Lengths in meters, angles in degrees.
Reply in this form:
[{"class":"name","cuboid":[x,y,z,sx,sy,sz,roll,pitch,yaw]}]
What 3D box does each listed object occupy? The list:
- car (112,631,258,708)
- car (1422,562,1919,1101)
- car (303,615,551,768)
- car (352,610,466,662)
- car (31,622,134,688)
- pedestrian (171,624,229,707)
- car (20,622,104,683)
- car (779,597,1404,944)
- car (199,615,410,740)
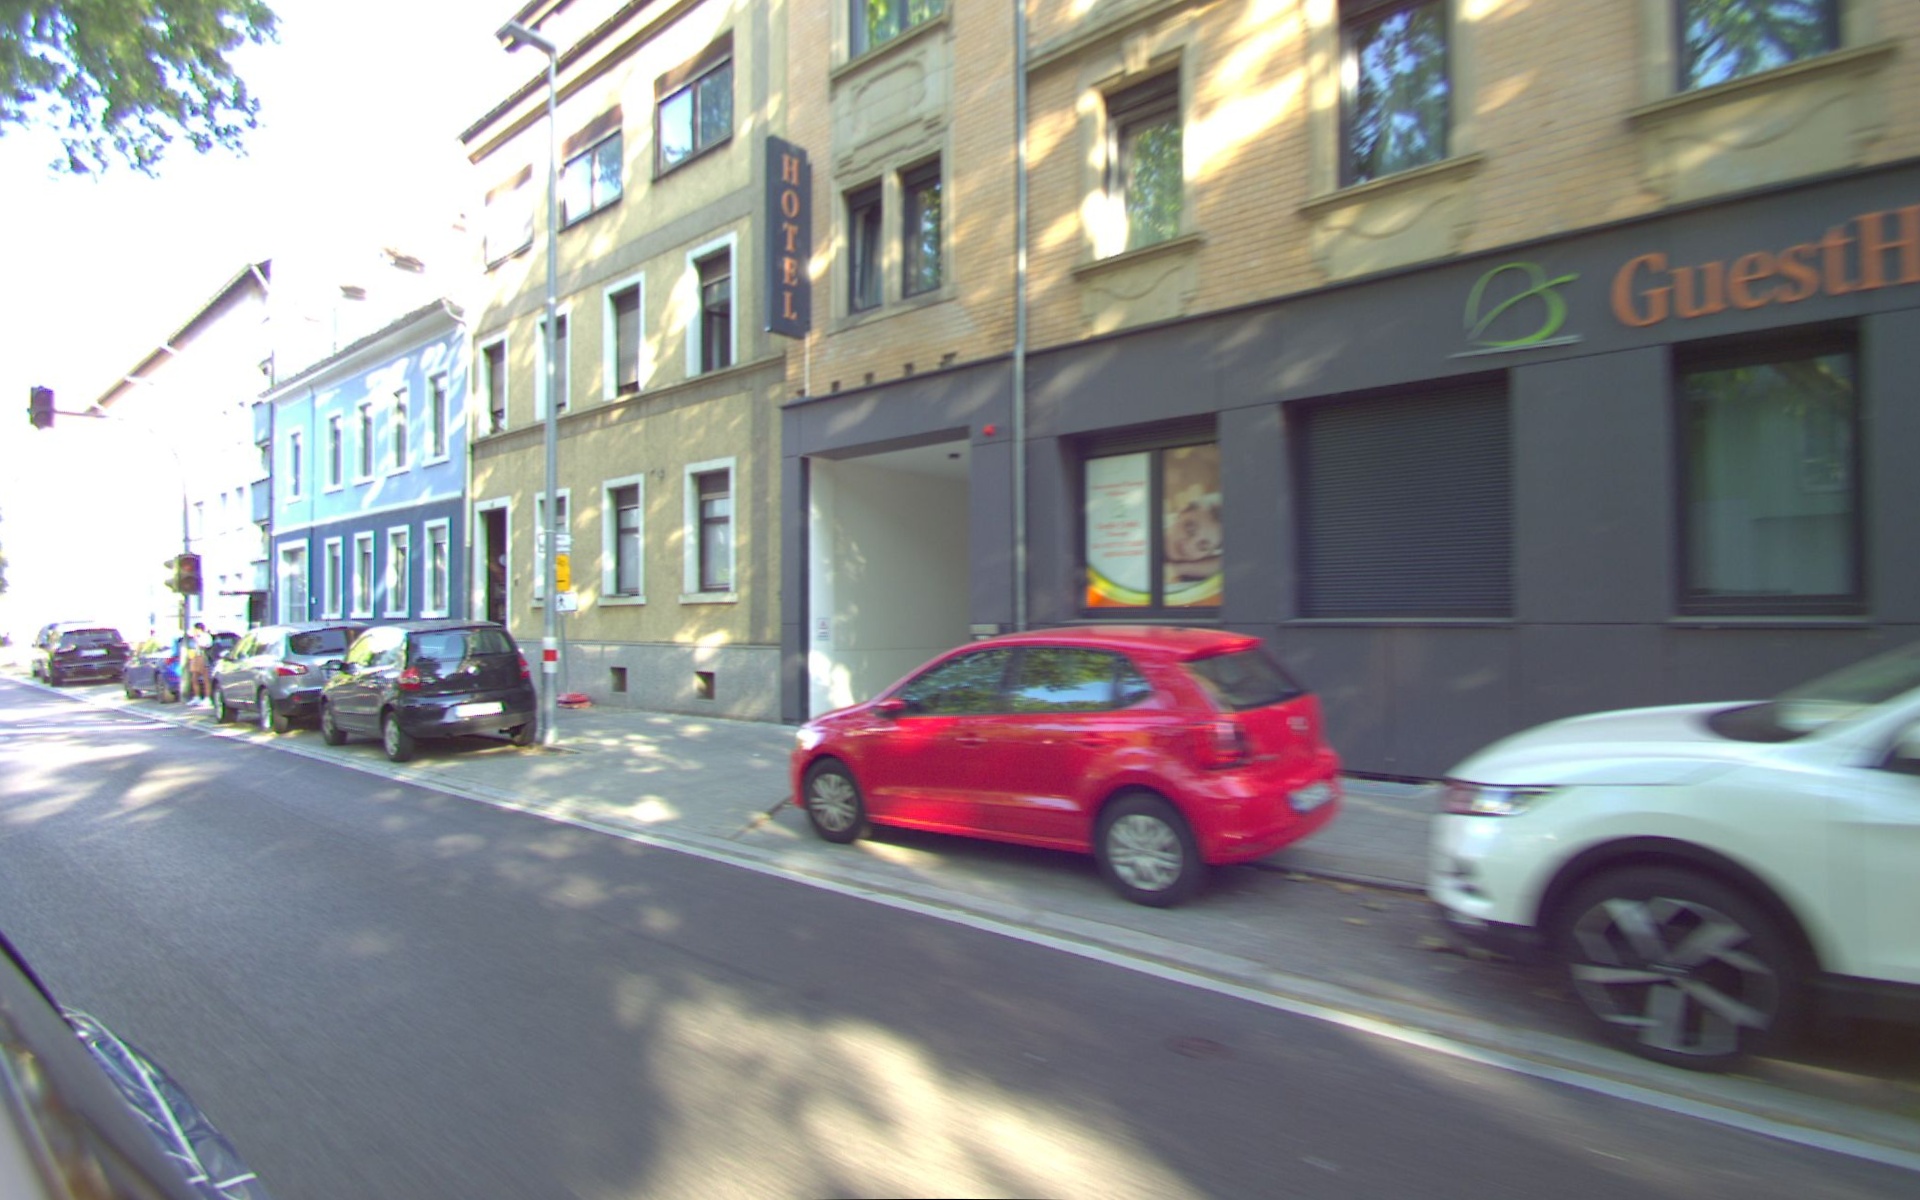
[{"class":"car","cuboid":[-17.152,1.467,22.331,4.258,1.498,1.634,-2,-1,40]},{"class":"car","cuboid":[3.917,0.661,3.144,4.198,1.597,1.660,-2,-1,42]},{"class":"car","cuboid":[-6.819,1.035,12.784,3.706,1.617,1.659,-2,-1,44]},{"class":"car","cuboid":[-18.060,1.154,33.073,4.522,1.557,1.820,-2,-1,41]},{"class":"car","cuboid":[-25.199,1.525,29.007,4.494,1.685,1.885,-2,-1,45]},{"class":"pedestrian","cuboid":[-14.862,1.264,19.784,0.852,1.582,0.707,1,-3,-40]},{"class":"car","cuboid":[-29.099,1.655,32.757,4.004,1.832,1.646,-2,-1,43]},{"class":"car","cuboid":[0.665,0.837,6.619,3.755,1.604,1.660,-2,-1,42]},{"class":"car","cuboid":[-10.499,1.129,16.086,4.154,1.685,1.763,-2,-1,42]}]
